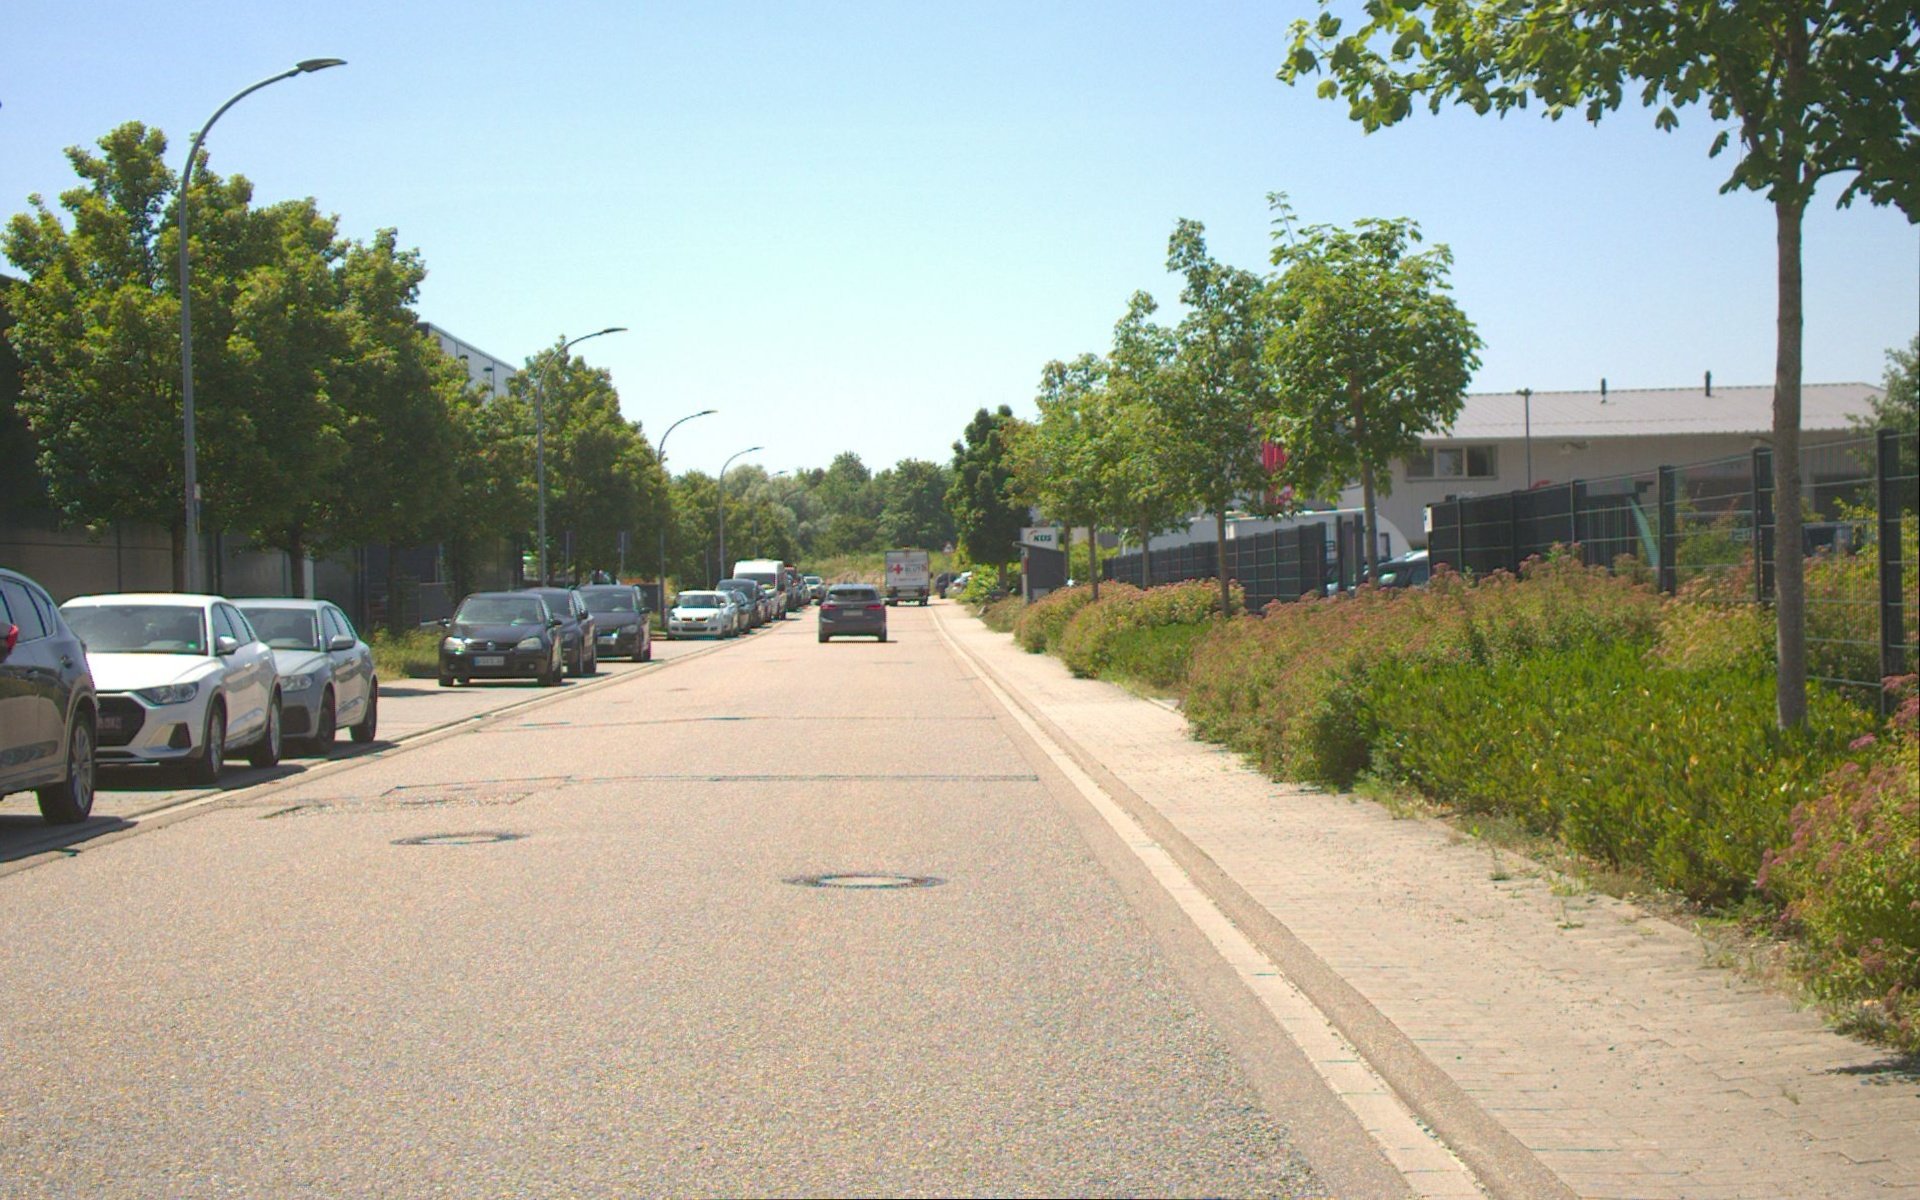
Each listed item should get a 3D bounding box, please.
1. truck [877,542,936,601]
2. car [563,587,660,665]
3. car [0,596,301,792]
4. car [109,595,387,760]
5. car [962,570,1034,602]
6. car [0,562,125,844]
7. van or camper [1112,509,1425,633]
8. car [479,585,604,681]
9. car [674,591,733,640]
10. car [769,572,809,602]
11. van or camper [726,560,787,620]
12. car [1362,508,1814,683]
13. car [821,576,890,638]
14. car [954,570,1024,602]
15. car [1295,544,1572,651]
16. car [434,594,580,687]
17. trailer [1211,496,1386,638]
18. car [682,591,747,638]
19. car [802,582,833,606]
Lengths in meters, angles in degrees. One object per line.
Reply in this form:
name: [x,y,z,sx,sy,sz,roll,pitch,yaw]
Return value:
truck: [-2.747,-1.460,177.893,2.933,2.964,6.419,1,0,-1]
car: [-7.379,0.532,73.100,1.770,1.606,4.248,0,0,-2]
car: [-6.541,0.687,27.383,1.771,1.426,4.201,0,0,0]
car: [-6.574,0.678,32.125,1.771,1.426,3.940,0,0,0]
car: [2.131,-0.791,193.130,3.875,1.744,1.752,1,0,-3]
car: [-6.398,0.583,20.397,1.771,1.618,4.582,0,0,0]
van or camper: [6.971,-0.647,78.257,6.756,2.576,2.636,-2,0,-1]
car: [-7.366,0.552,60.871,1.770,1.606,4.852,0,0,-2]
car: [-7.847,0.465,105.286,1.720,1.471,3.858,0,0,-3]
car: [-8.908,-0.674,179.454,1.799,1.482,4.252,0,1,1]
van or camper: [-8.655,-0.409,146.757,2.078,2.474,6.130,1,0,1]
car: [7.669,-0.059,42.292,5.113,1.867,1.903,-3,0,-1]
car: [-2.806,0.184,92.898,1.789,1.618,3.809,1,0,-1]
car: [1.640,-0.804,195.673,3.875,1.744,1.752,1,0,-3]
car: [7.334,-0.045,53.483,3.987,1.517,1.823,-2,0,-1]
car: [-7.210,0.619,55.058,1.771,1.426,4.201,0,0,0]
trailer: [6.082,-0.595,61.863,2.822,2.395,1.420,-3,0,-5]
car: [-7.876,0.455,110.549,1.799,1.471,4.555,0,0,0]
car: [-9.272,-0.377,224.301,1.799,1.482,4.252,0,1,1]
